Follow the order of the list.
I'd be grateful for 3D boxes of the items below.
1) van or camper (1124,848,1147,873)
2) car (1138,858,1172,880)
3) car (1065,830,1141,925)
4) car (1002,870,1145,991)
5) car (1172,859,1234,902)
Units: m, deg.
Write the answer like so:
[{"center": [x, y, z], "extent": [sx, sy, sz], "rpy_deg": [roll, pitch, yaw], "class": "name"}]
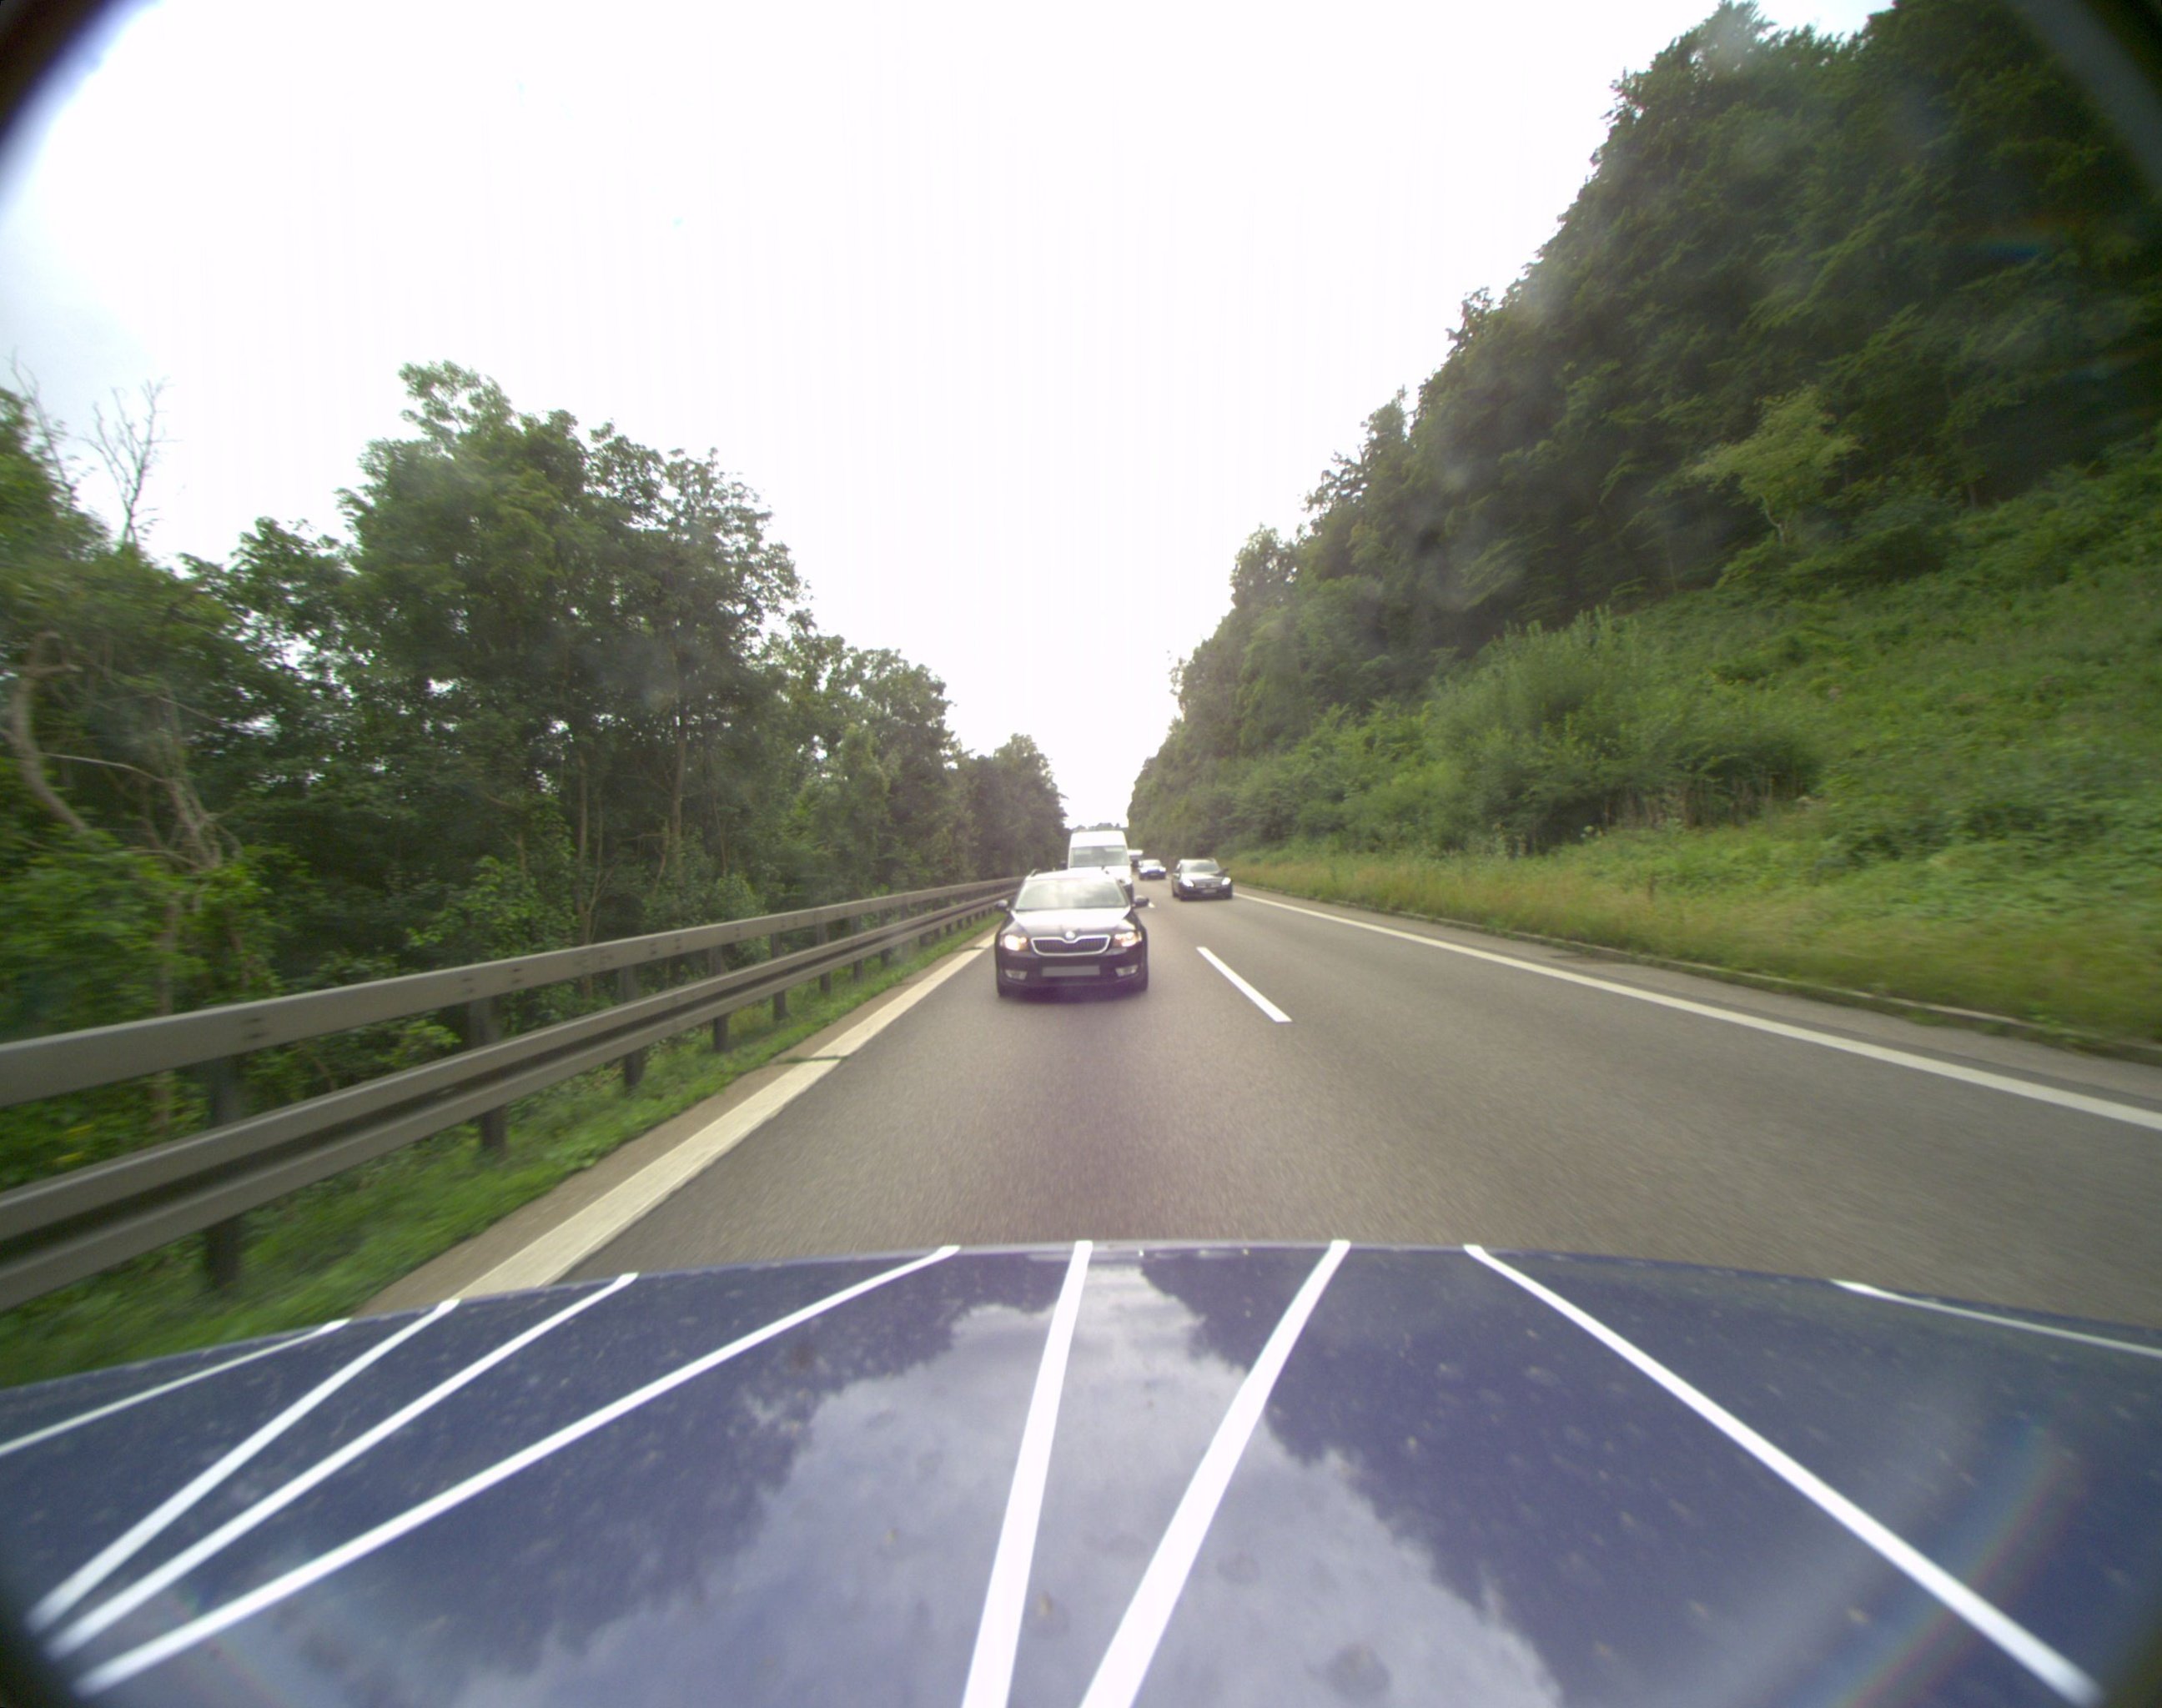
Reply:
[{"center": [6.149, 0.696, 86.554], "extent": [2.270, 2.719, 7.025], "rpy_deg": [-1, 0, 2], "class": "van or camper"}, {"center": [5.427, 1.064, 56.095], "extent": [1.841, 1.460, 4.554], "rpy_deg": [-1, 0, -3], "class": "car"}, {"center": [0.636, 0.637, 23.121], "extent": [2.001, 2.545, 5.128], "rpy_deg": [-1, 0, 1], "class": "car"}, {"center": [-0.118, 1.001, 11.683], "extent": [1.751, 1.409, 4.401], "rpy_deg": [-1, 0, -1], "class": "car"}, {"center": [4.502, 0.932, 28.696], "extent": [1.764, 1.455, 5.124], "rpy_deg": [-1, -1, 3], "class": "car"}]
